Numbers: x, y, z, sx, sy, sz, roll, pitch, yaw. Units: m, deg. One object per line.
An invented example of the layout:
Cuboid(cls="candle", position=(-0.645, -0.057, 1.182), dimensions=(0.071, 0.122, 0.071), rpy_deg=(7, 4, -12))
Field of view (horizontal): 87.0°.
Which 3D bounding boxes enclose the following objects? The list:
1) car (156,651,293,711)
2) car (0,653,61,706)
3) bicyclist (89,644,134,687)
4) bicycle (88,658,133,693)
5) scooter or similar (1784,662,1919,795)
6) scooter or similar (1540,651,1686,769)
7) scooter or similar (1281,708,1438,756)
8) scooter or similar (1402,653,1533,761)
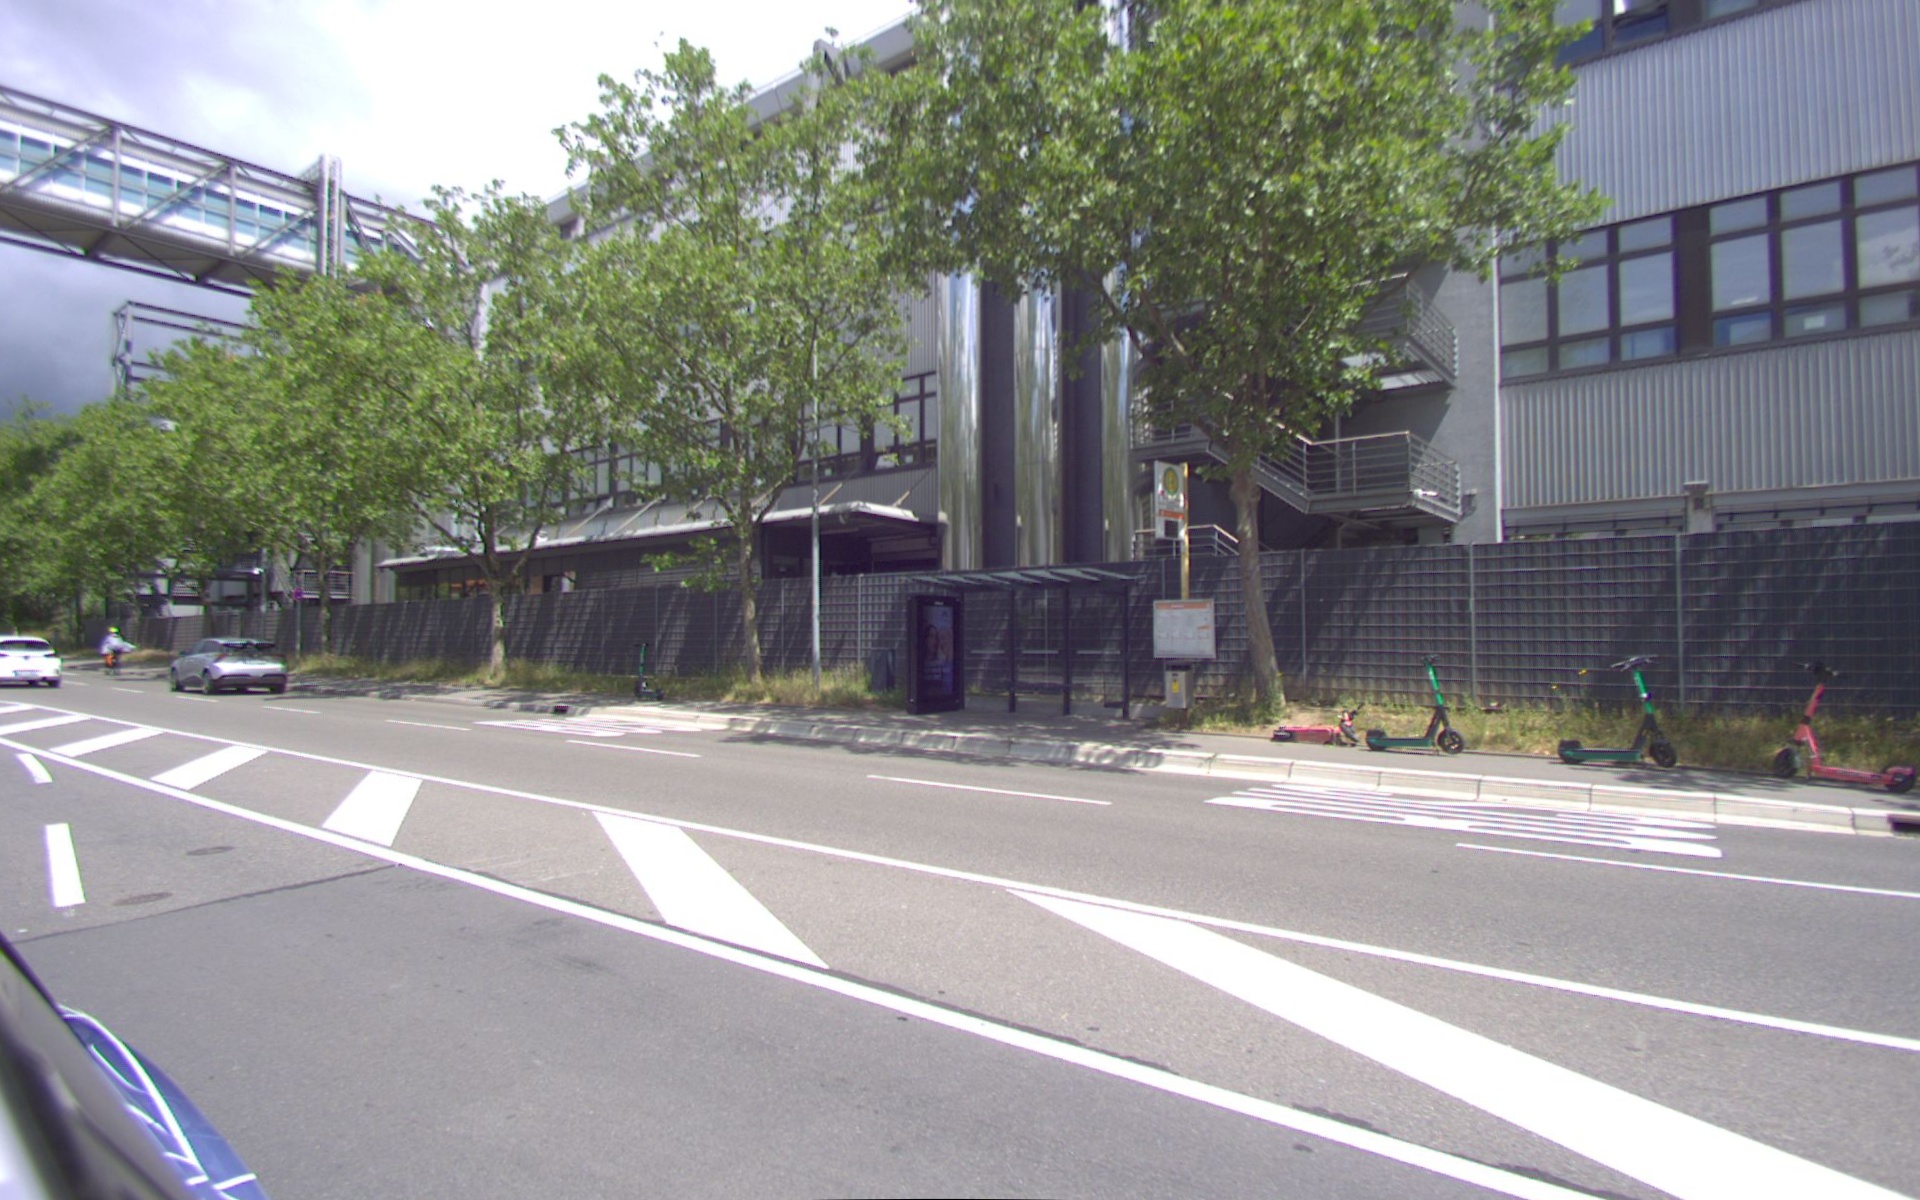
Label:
Cuboid(cls="car", position=(-20.370, 2.207, 27.986), dimensions=(4.182, 1.517, 1.861), rpy_deg=(-2, -5, 36))
Cuboid(cls="car", position=(-27.472, 2.246, 29.079), dimensions=(4.139, 1.426, 1.675), rpy_deg=(-2, -5, 38))
Cuboid(cls="bicyclist", position=(-32.718, 2.529, 39.034), dimensions=(1.220, 1.610, 0.947), rpy_deg=(-1, -4, 35))
Cuboid(cls="bicycle", position=(-32.743, 2.898, 38.995), dimensions=(2.469, 1.244, 0.729), rpy_deg=(-1, -4, 36))
Cuboid(cls="scooter or similar", position=(9.165, 1.267, 10.171), dimensions=(1.316, 1.244, 0.518), rpy_deg=(-3, 0, 40))
Cuboid(cls="scooter or similar", position=(7.442, 1.230, 11.551), dimensions=(1.315, 1.244, 0.518), rpy_deg=(-3, 0, 37))
Cuboid(cls="scooter or similar", position=(5.419, 1.781, 13.840), dimensions=(1.341, 0.383, 1.494), rpy_deg=(-3, 0, -17))
Cuboid(cls="scooter or similar", position=(6.258, 1.306, 12.511), dimensions=(1.315, 1.244, 0.518), rpy_deg=(-4, -1, 37))
